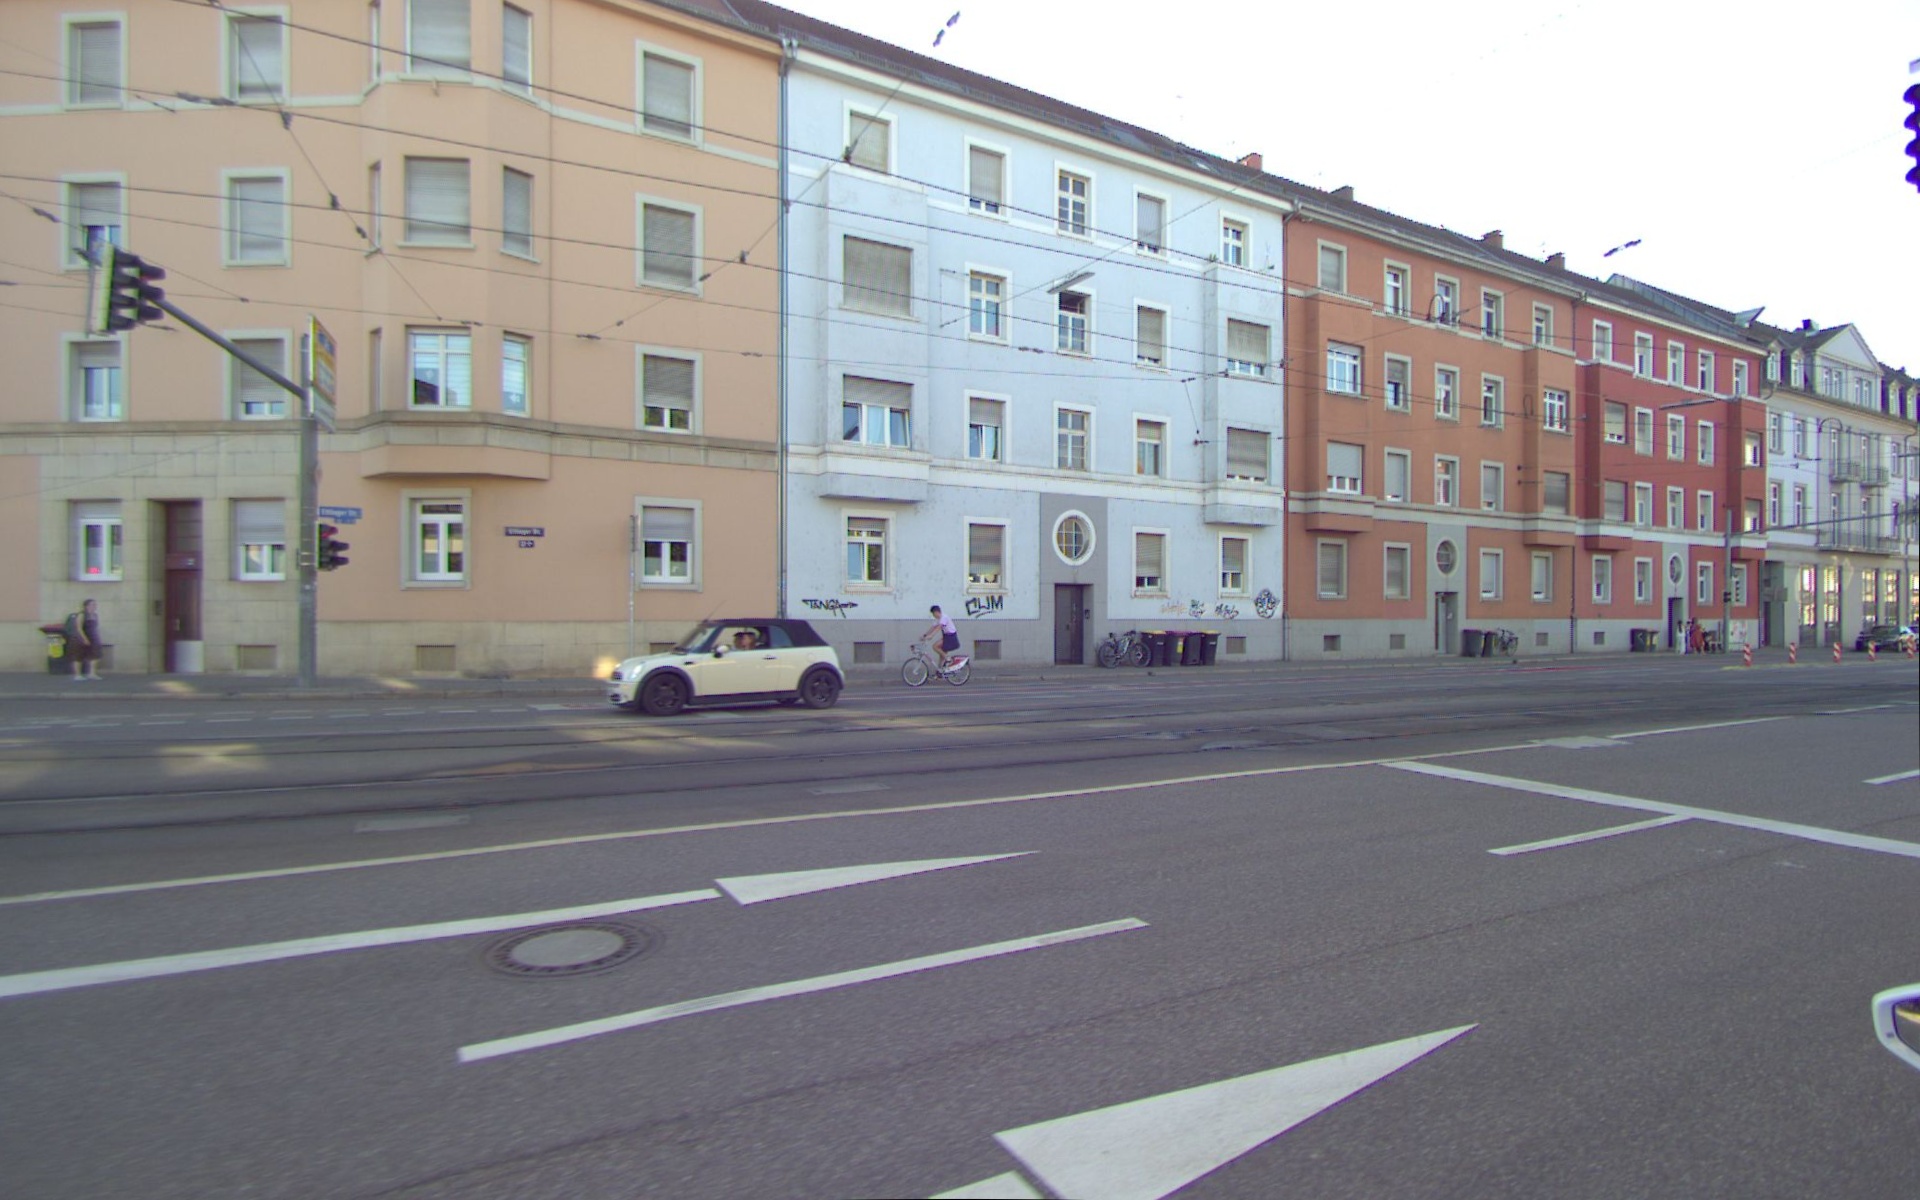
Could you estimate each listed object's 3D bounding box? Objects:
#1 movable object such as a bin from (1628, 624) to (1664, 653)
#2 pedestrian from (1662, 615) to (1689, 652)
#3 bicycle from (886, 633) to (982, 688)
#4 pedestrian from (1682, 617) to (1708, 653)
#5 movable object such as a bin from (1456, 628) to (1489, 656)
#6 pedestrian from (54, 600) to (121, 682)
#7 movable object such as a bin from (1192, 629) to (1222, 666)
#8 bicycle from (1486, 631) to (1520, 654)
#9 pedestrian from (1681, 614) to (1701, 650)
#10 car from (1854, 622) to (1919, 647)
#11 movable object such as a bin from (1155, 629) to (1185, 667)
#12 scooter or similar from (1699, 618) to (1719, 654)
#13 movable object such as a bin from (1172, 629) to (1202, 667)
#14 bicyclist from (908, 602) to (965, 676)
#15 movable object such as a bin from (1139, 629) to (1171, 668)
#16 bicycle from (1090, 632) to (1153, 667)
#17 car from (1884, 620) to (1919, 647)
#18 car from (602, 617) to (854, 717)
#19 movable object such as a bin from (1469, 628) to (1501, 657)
[{"bbox_3d":[30.915,1.730,45.260,1.216,1.266,0.868,1,-1,-25],"label":"movable object such as a bin"},{"bbox_3d":[32.979,1.534,46.308,0.643,1.655,0.793,0,0,-12],"label":"pedestrian"},{"bbox_3d":[-0.590,1.380,23.293,2.127,1.206,0.743,1,-1,-31],"label":"bicycle"},{"bbox_3d":[33.860,1.607,46.279,0.815,1.655,0.795,0,0,22],"label":"pedestrian"},{"bbox_3d":[19.455,1.583,38.136,0.803,1.054,0.837,1,-1,-35],"label":"movable object such as a bin"},{"bbox_3d":[-17.176,0.798,19.778,0.706,1.584,0.677,0,0,4],"label":"pedestrian"},{"bbox_3d":[7.644,1.471,31.134,0.576,1.121,0.698,1,0,-31],"label":"movable object such as a bin"},{"bbox_3d":[21.506,1.687,39.765,1.583,0.902,0.333,1,-1,-27],"label":"bicycle"},{"bbox_3d":[34.265,1.499,47.079,0.642,1.655,0.794,0,0,27],"label":"pedestrian"},{"bbox_3d":[48.899,1.779,52.843,3.954,1.249,1.711,1,-1,-31],"label":"car"},{"bbox_3d":[6.376,1.460,30.504,0.576,1.121,0.699,1,0,-31],"label":"movable object such as a bin"},{"bbox_3d":[34.873,1.663,46.776,0.642,1.655,0.794,0,0,27],"label":"scooter or similar"},{"bbox_3d":[6.964,1.467,30.799,0.576,1.121,0.698,1,0,-31],"label":"movable object such as a bin"},{"bbox_3d":[-0.545,0.898,23.335,1.113,1.664,0.743,1,-1,-31],"label":"bicyclist"},{"bbox_3d":[5.855,1.449,30.127,0.641,1.121,0.698,1,0,-31],"label":"movable object such as a bin"},{"bbox_3d":[4.736,1.443,29.420,1.855,0.993,0.602,1,0,-31],"label":"bicycle"},{"bbox_3d":[53.431,1.844,56.031,3.954,1.471,1.711,1,-1,-31],"label":"car"},{"bbox_3d":[-3.595,0.960,15.677,3.495,1.393,1.717,1,-1,-32],"label":"car"},{"bbox_3d":[20.161,1.624,38.570,0.803,1.054,0.837,1,-1,-35],"label":"movable object such as a bin"}]
